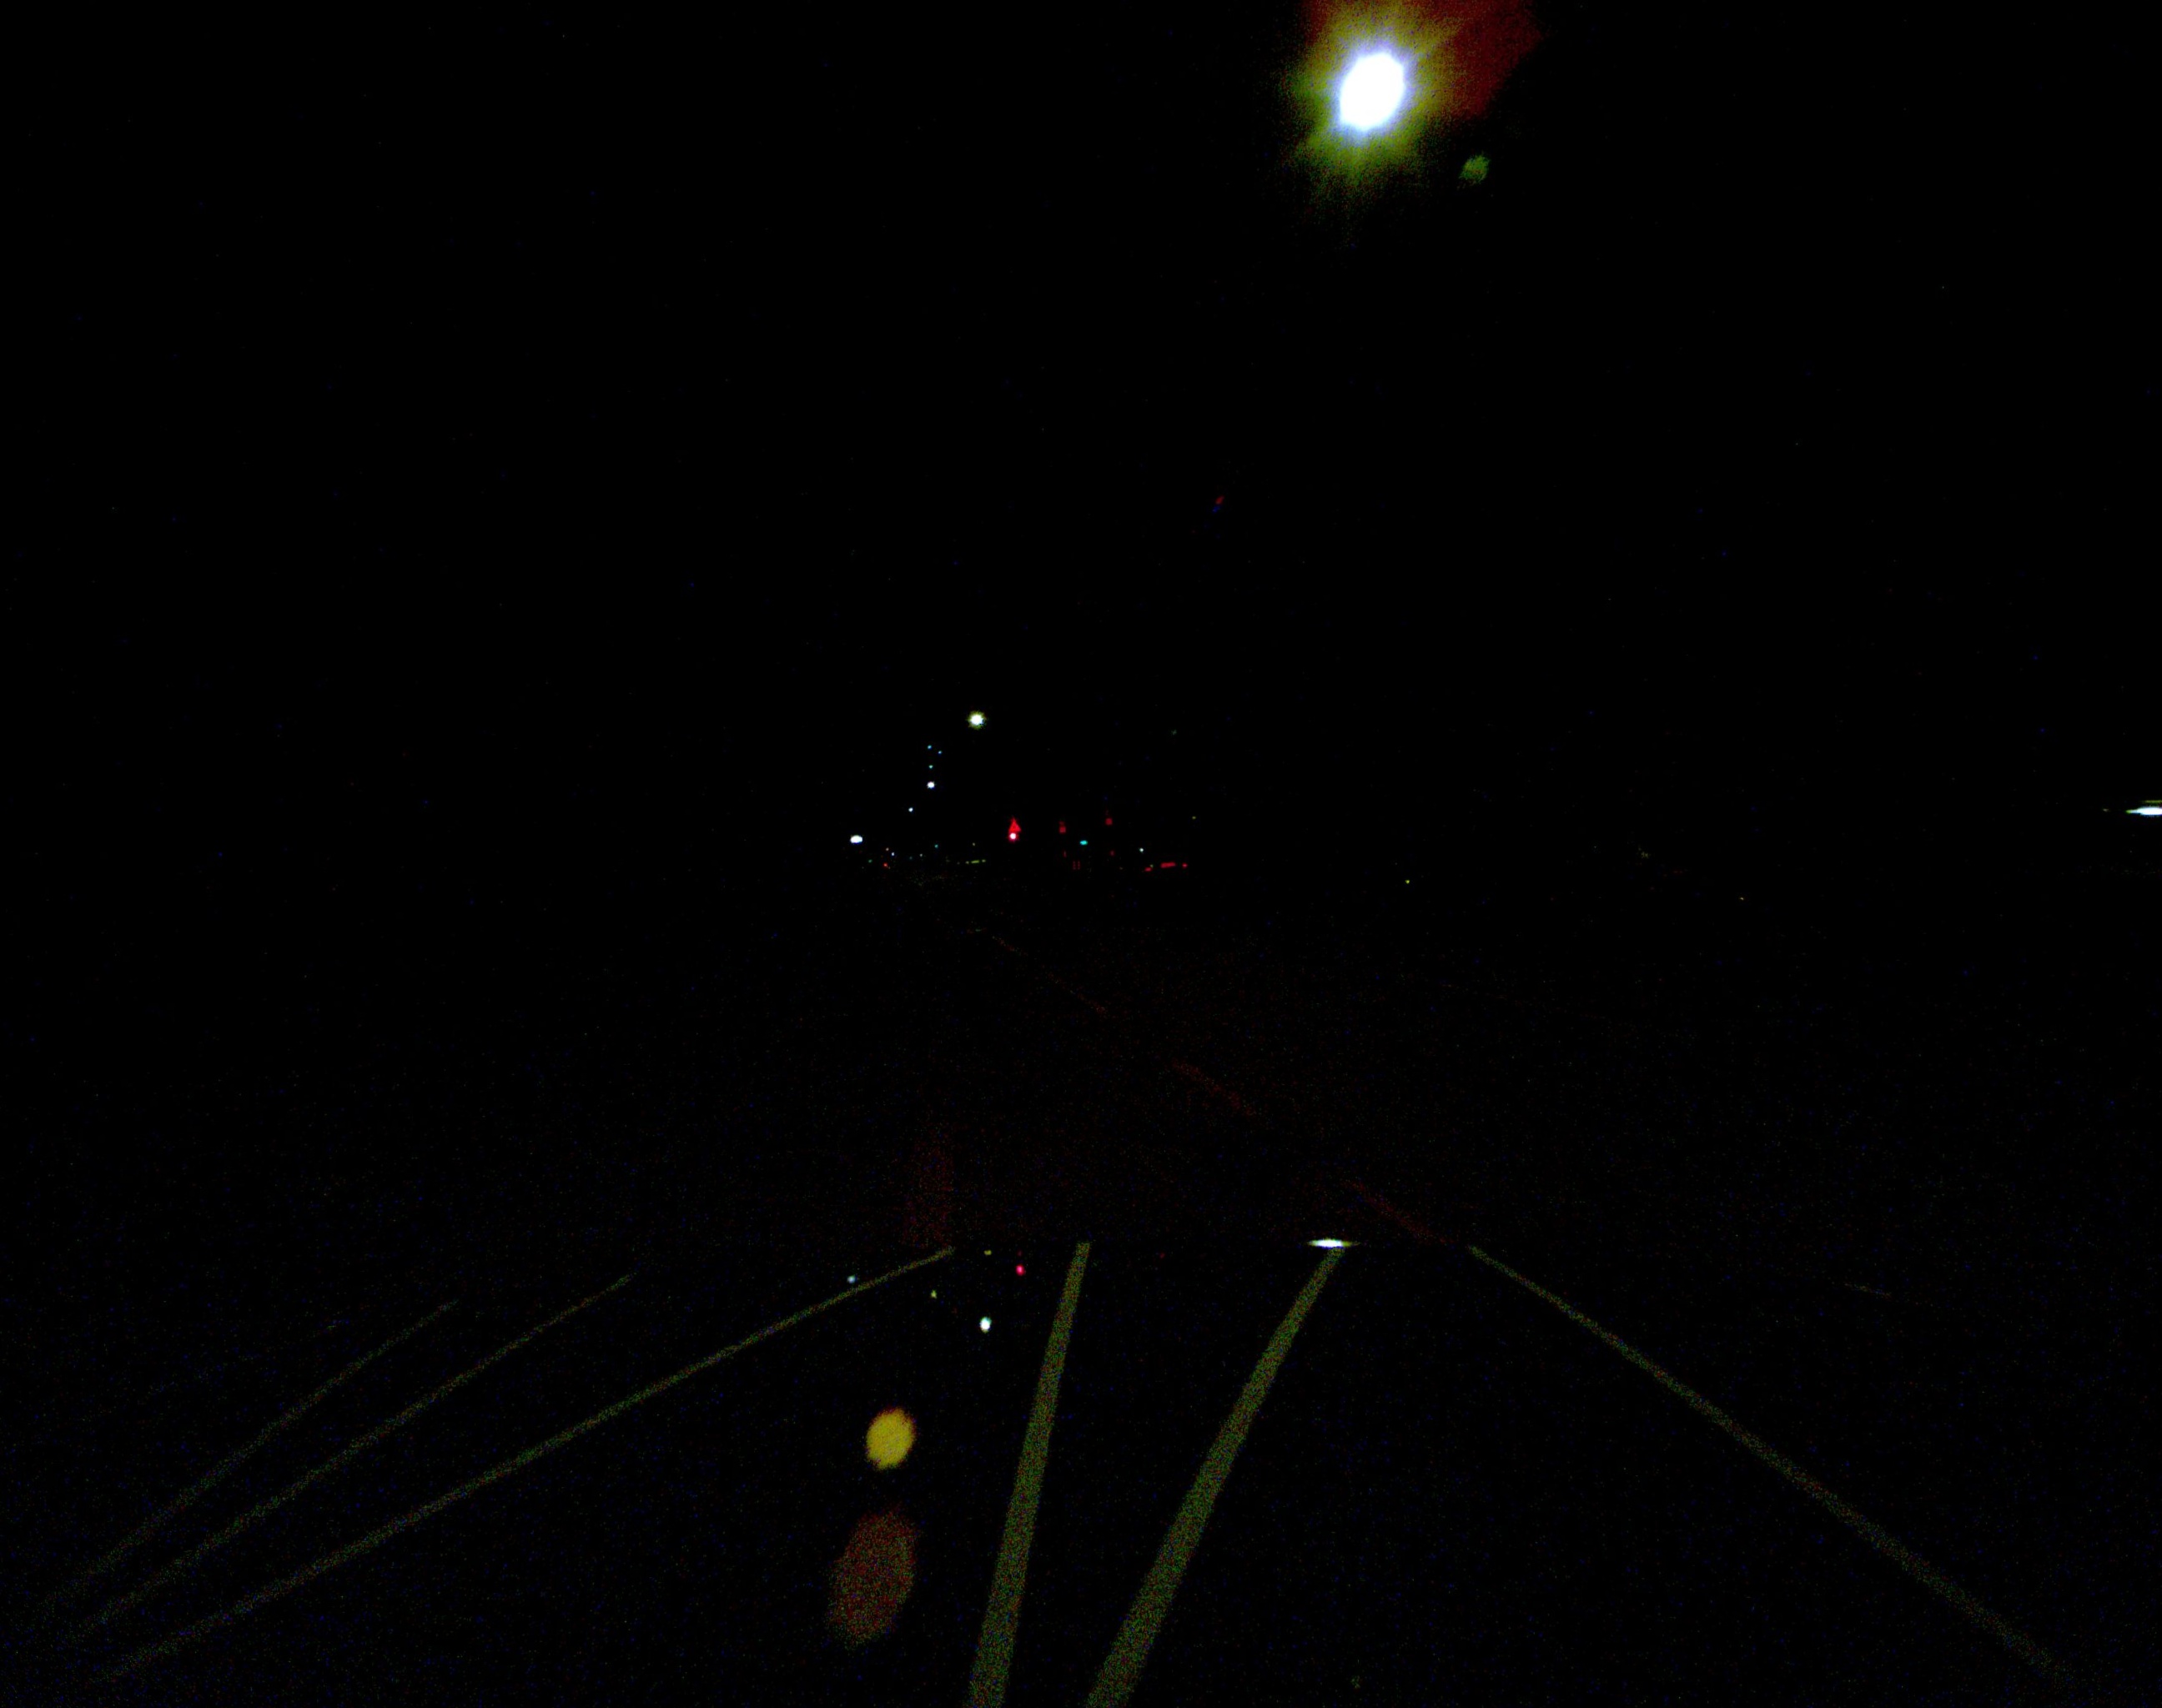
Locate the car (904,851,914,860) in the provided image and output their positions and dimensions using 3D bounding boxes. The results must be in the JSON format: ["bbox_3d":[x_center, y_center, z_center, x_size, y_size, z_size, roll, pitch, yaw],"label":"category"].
[{"bbox_3d":[-48.574,0.477,214.631,2.007,2.493,4.947,-7,2,-16],"label":"car"}]

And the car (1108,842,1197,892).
[{"bbox_3d":[2.387,0.424,26.353,1.720,1.485,3.985,-5,1,-14],"label":"car"}]

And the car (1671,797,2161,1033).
[{"bbox_3d":[7.525,0.351,5.641,1.774,1.477,4.857,-3,1,-15],"label":"car"}]

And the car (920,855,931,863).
[{"bbox_3d":[-30.724,0.990,150.160,1.828,1.424,3.726,-7,1,-13],"label":"car"}]

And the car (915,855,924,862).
[{"bbox_3d":[-36.536,1.027,171.407,1.828,1.637,3.726,-3,1,-14],"label":"car"}]

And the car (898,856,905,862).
[{"bbox_3d":[-56.985,1.602,240.809,1.828,1.424,3.726,-7,1,-16],"label":"car"}]

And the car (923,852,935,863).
[{"bbox_3d":[-28.847,0.681,144.478,1.884,1.799,3.726,-7,1,-13],"label":"car"}]

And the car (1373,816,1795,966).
[{"bbox_3d":[6.314,0.375,10.388,1.775,1.477,4.761,-3,1,-16],"label":"car"}]

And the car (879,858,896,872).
[{"bbox_3d":[-21.851,1.237,85.975,1.592,1.453,3.792,-5,1,-12],"label":"car"}]

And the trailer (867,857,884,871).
[{"bbox_3d":[-25.447,1.247,94.057,1.606,1.486,3.730,-5,1,-11],"label":"trailer"}]
